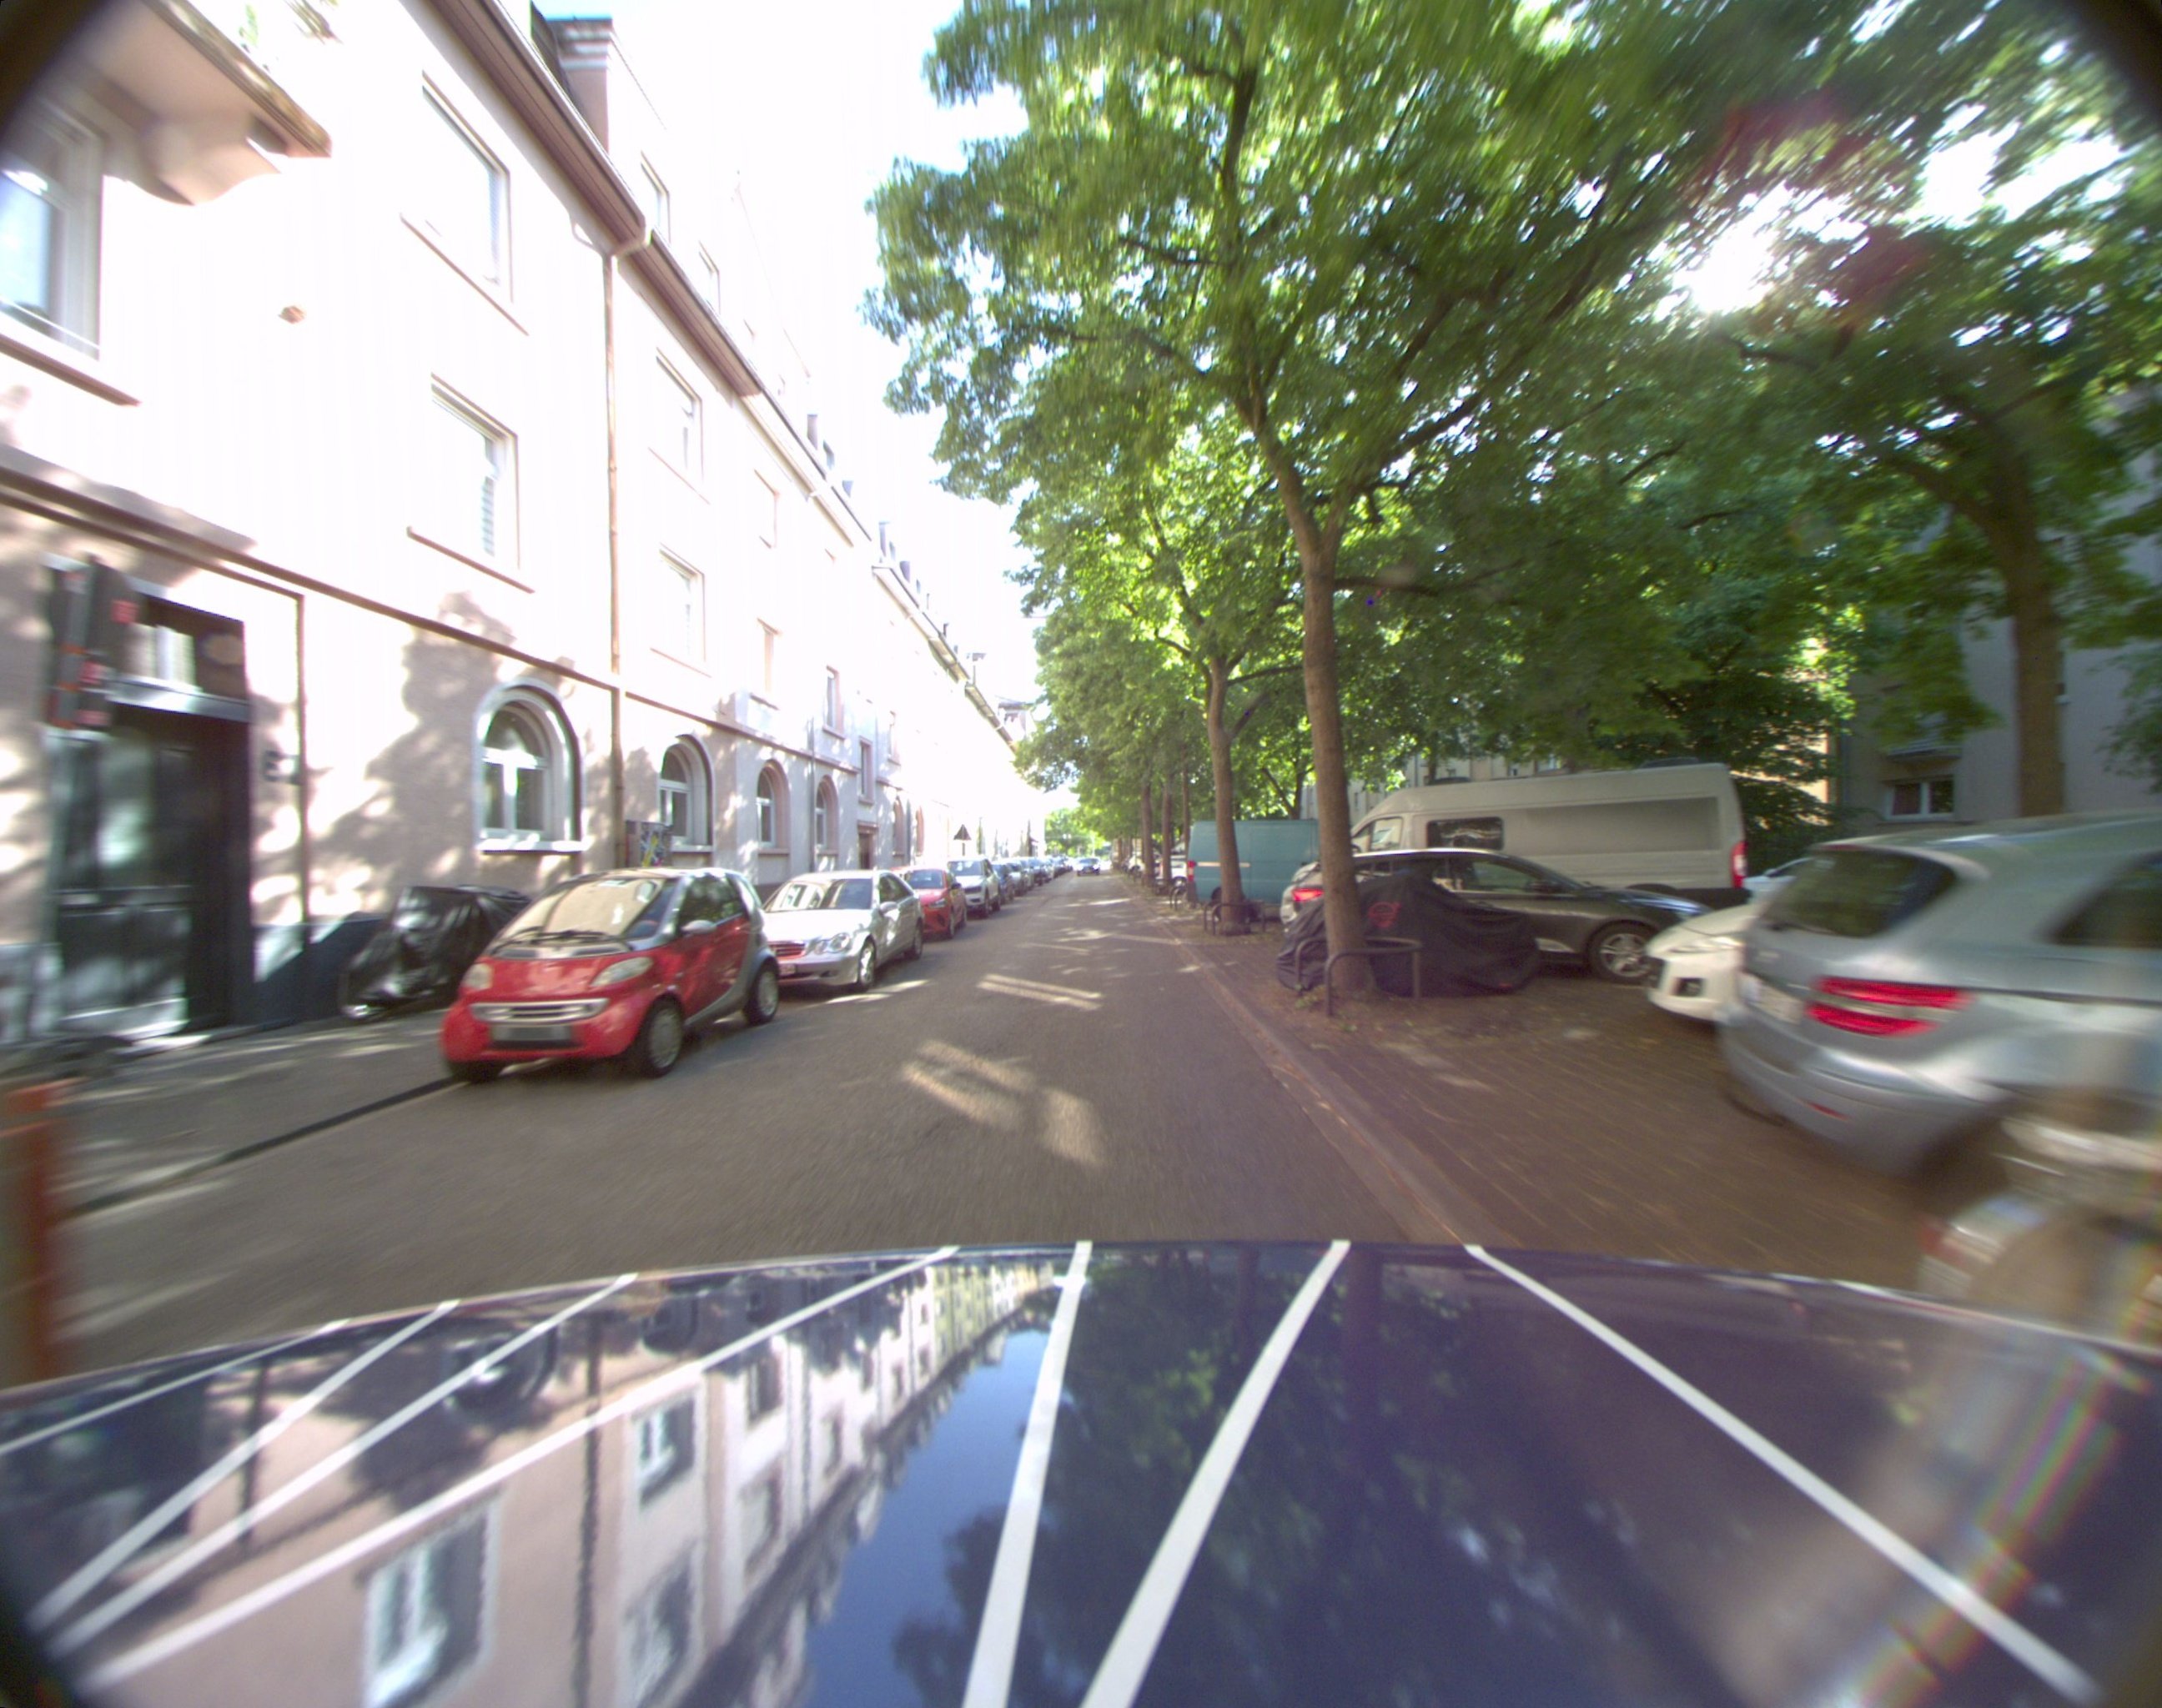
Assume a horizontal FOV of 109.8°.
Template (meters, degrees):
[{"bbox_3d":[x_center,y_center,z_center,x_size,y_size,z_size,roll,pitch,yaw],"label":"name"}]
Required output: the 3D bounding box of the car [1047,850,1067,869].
[{"bbox_3d":[-2.326,0.531,74.677,1.863,1.772,4.000,-1,0,0],"label":"car"}]

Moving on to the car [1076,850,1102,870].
[{"bbox_3d":[0.671,0.470,61.661,1.792,1.510,4.001,-3,0,4],"label":"car"}]

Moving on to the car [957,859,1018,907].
[{"bbox_3d":[-3.194,0.947,26.640,1.671,1.503,3.606,-1,0,0],"label":"car"}]

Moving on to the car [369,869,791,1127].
[{"bbox_3d":[-3.743,0.948,6.302,1.490,1.548,2.969,-1,0,0],"label":"car"}]

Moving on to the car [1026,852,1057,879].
[{"bbox_3d":[-2.701,0.767,52.545,1.863,1.772,4.000,-1,0,0],"label":"car"}]

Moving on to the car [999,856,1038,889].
[{"bbox_3d":[-2.938,0.841,36.394,1.577,1.446,3.402,-1,0,0],"label":"car"}]

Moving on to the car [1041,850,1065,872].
[{"bbox_3d":[-2.360,0.582,64.315,1.863,1.772,4.000,-1,0,0],"label":"car"}]

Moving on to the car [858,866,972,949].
[{"bbox_3d":[-3.332,1.020,15.961,1.671,1.419,3.971,-1,0,-3],"label":"car"}]

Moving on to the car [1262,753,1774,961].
[{"bbox_3d":[6.124,0.060,11.547,6.186,2.497,2.142,-1,1,28],"label":"car"}]

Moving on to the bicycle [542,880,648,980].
[{"bbox_3d":[-6.541,0.982,10.313,0.427,1.195,1.530,-1,0,0],"label":"bicycle"}]

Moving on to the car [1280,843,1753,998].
[{"bbox_3d":[4.895,0.643,9.125,4.512,1.475,1.741,-1,1,31],"label":"car"}]

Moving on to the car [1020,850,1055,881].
[{"bbox_3d":[-2.615,0.683,46.527,1.863,1.772,4.000,-1,0,0],"label":"car"}]

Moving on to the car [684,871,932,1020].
[{"bbox_3d":[-3.345,1.032,10.273,1.765,1.456,4.244,-1,0,0],"label":"car"}]

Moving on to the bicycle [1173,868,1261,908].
[{"bbox_3d":[3.425,0.864,19.211,2.149,0.964,0.609,-1,1,8],"label":"bicycle"}]

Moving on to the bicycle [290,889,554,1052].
[{"bbox_3d":[-6.484,1.060,7.709,0.542,1.275,2.343,-1,1,2],"label":"bicycle"}]

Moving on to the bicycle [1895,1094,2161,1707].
[{"bbox_3d":[2.961,0.997,1.248,2.379,0.972,0.502,-1,1,11],"label":"bicycle"}]

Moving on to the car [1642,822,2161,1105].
[{"bbox_3d":[6.083,0.588,4.994,3.815,1.535,1.685,-1,1,35],"label":"car"}]

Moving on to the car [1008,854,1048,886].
[{"bbox_3d":[-2.827,0.842,41.433,1.863,1.584,4.000,-1,0,0],"label":"car"}]

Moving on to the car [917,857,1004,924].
[{"bbox_3d":[-3.174,0.899,20.860,1.671,1.590,4.273,-1,0,0],"label":"car"}]

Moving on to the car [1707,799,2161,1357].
[{"bbox_3d":[4.726,0.624,2.369,3.990,1.607,1.800,-1,1,27],"label":"car"}]

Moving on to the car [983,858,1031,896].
[{"bbox_3d":[-3.001,0.907,31.450,1.577,1.428,3.606,-1,0,0],"label":"car"}]

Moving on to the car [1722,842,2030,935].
[{"bbox_3d":[15.502,0.593,15.196,1.998,1.576,4.000,-1,0,0],"label":"car"}]

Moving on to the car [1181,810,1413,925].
[{"bbox_3d":[4.498,0.263,15.964,4.387,2.155,1.774,-1,1,28],"label":"car"}]

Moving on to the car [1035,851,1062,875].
[{"bbox_3d":[-2.492,0.666,58.887,1.863,1.772,4.000,-1,0,0],"label":"car"}]

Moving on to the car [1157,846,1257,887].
[{"bbox_3d":[4.792,0.477,28.865,3.265,1.408,1.750,-2,1,33],"label":"car"}]
